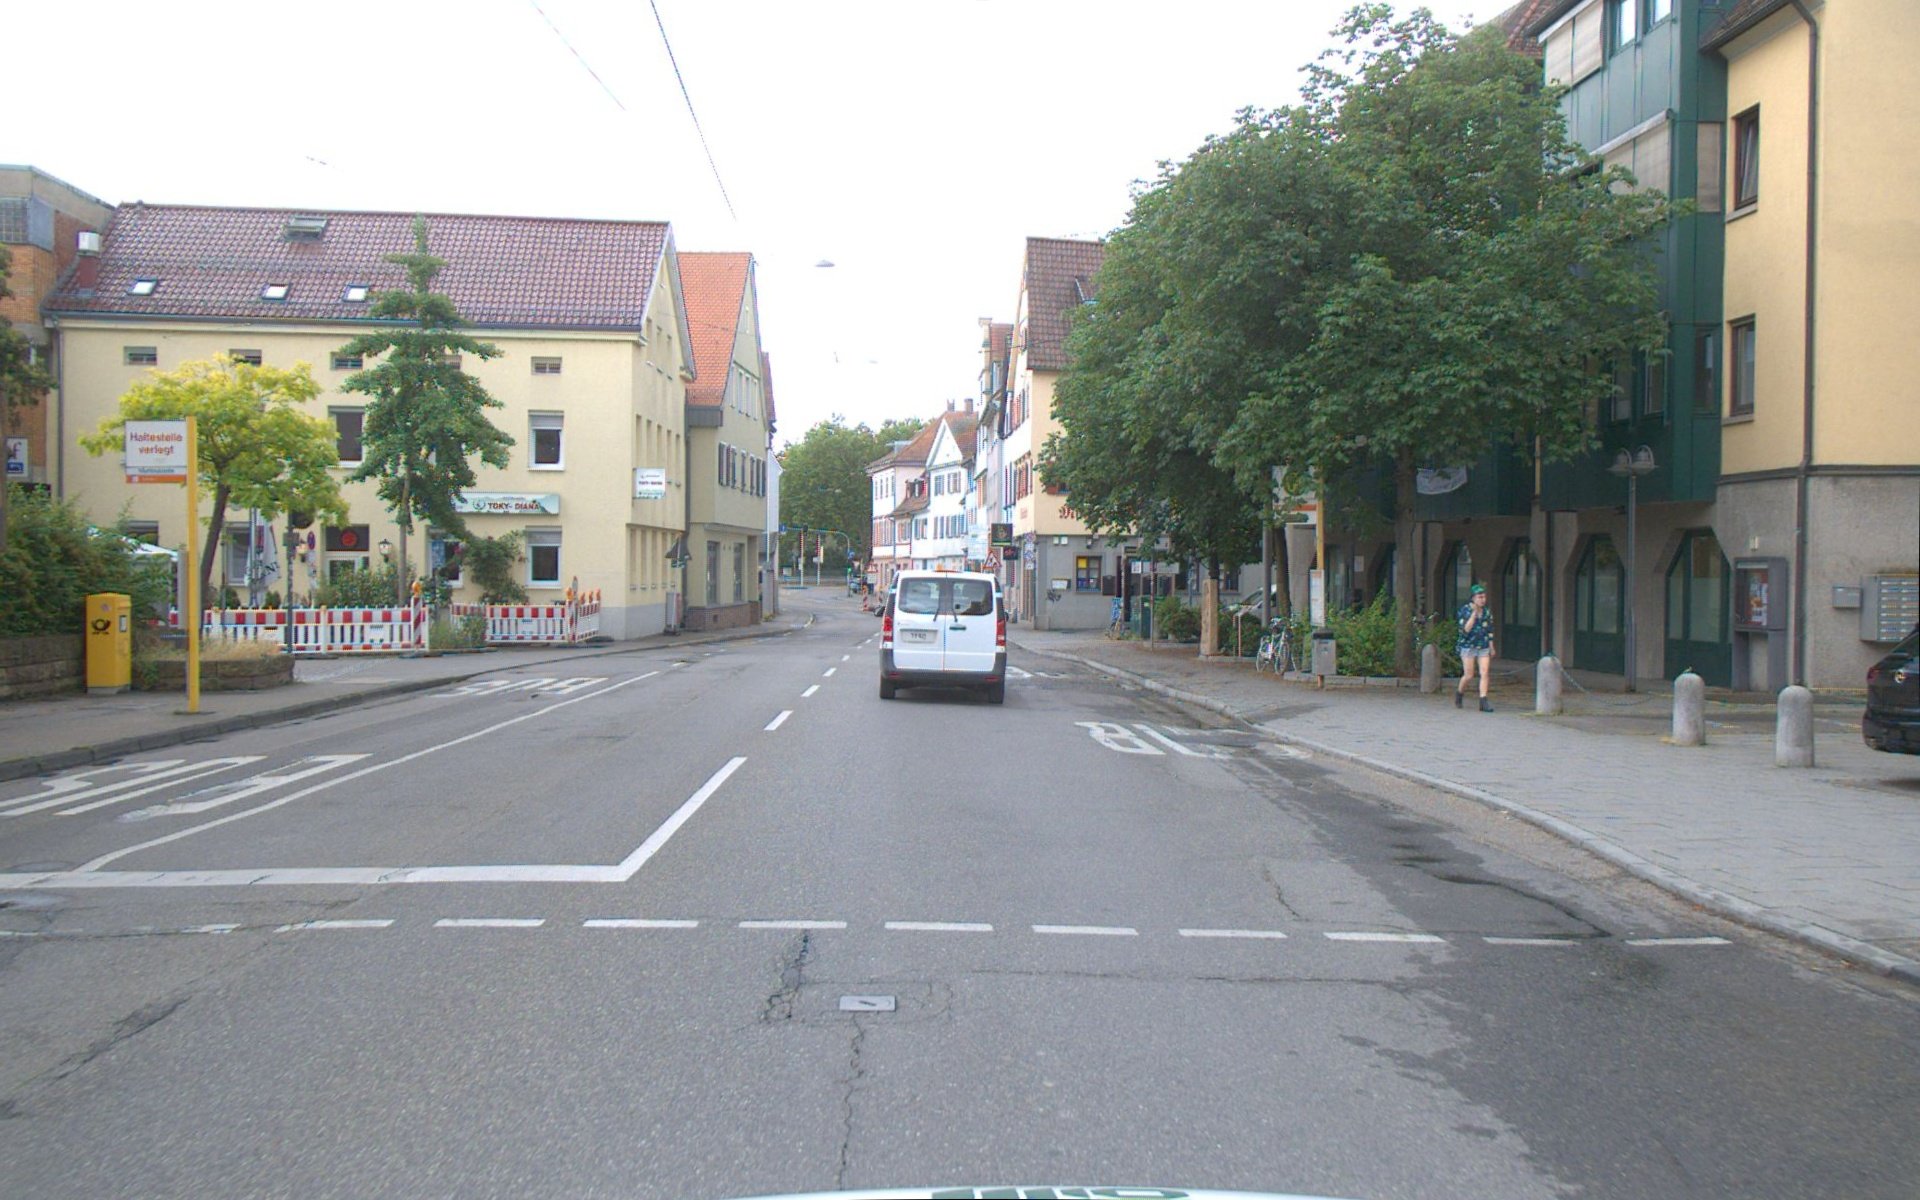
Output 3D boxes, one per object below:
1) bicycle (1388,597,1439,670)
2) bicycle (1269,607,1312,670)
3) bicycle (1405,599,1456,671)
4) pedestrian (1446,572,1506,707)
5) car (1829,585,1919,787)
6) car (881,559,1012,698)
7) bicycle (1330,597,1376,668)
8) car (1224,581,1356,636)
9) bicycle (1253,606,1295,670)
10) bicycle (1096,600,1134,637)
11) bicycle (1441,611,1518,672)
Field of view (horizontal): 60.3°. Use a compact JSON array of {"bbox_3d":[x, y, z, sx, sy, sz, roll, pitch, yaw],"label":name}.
[{"bbox_3d":[8.605,0.616,31.462,0.326,1.323,1.958,1,0,-3],"label":"bicycle"},{"bbox_3d":[6.325,0.718,31.752,0.326,1.161,1.958,1,0,-3],"label":"bicycle"},{"bbox_3d":[8.996,0.657,31.670,0.326,1.323,1.958,1,0,-3],"label":"bicycle"},{"bbox_3d":[6.851,0.513,21.977,0.589,1.745,0.860,0,0,6],"label":"pedestrian"},{"bbox_3d":[9.875,0.733,13.625,4.416,1.601,1.854,1,0,5],"label":"car"},{"bbox_3d":[-0.205,0.404,25.343,1.834,1.945,3.999,1,0,0],"label":"car"},{"bbox_3d":[7.636,0.617,32.217,0.326,1.323,1.958,1,0,-3],"label":"bicycle"},{"bbox_3d":[11.558,0.276,58.053,4.165,1.828,1.844,0,2,-11],"label":"car"},{"bbox_3d":[5.998,0.704,31.632,0.326,1.161,1.958,1,0,-3],"label":"bicycle"},{"bbox_3d":[4.887,0.576,52.199,0.492,1.126,1.627,0,0,-21],"label":"bicycle"},{"bbox_3d":[9.892,0.775,31.588,0.534,1.088,2.288,0,0,-6],"label":"bicycle"}]
